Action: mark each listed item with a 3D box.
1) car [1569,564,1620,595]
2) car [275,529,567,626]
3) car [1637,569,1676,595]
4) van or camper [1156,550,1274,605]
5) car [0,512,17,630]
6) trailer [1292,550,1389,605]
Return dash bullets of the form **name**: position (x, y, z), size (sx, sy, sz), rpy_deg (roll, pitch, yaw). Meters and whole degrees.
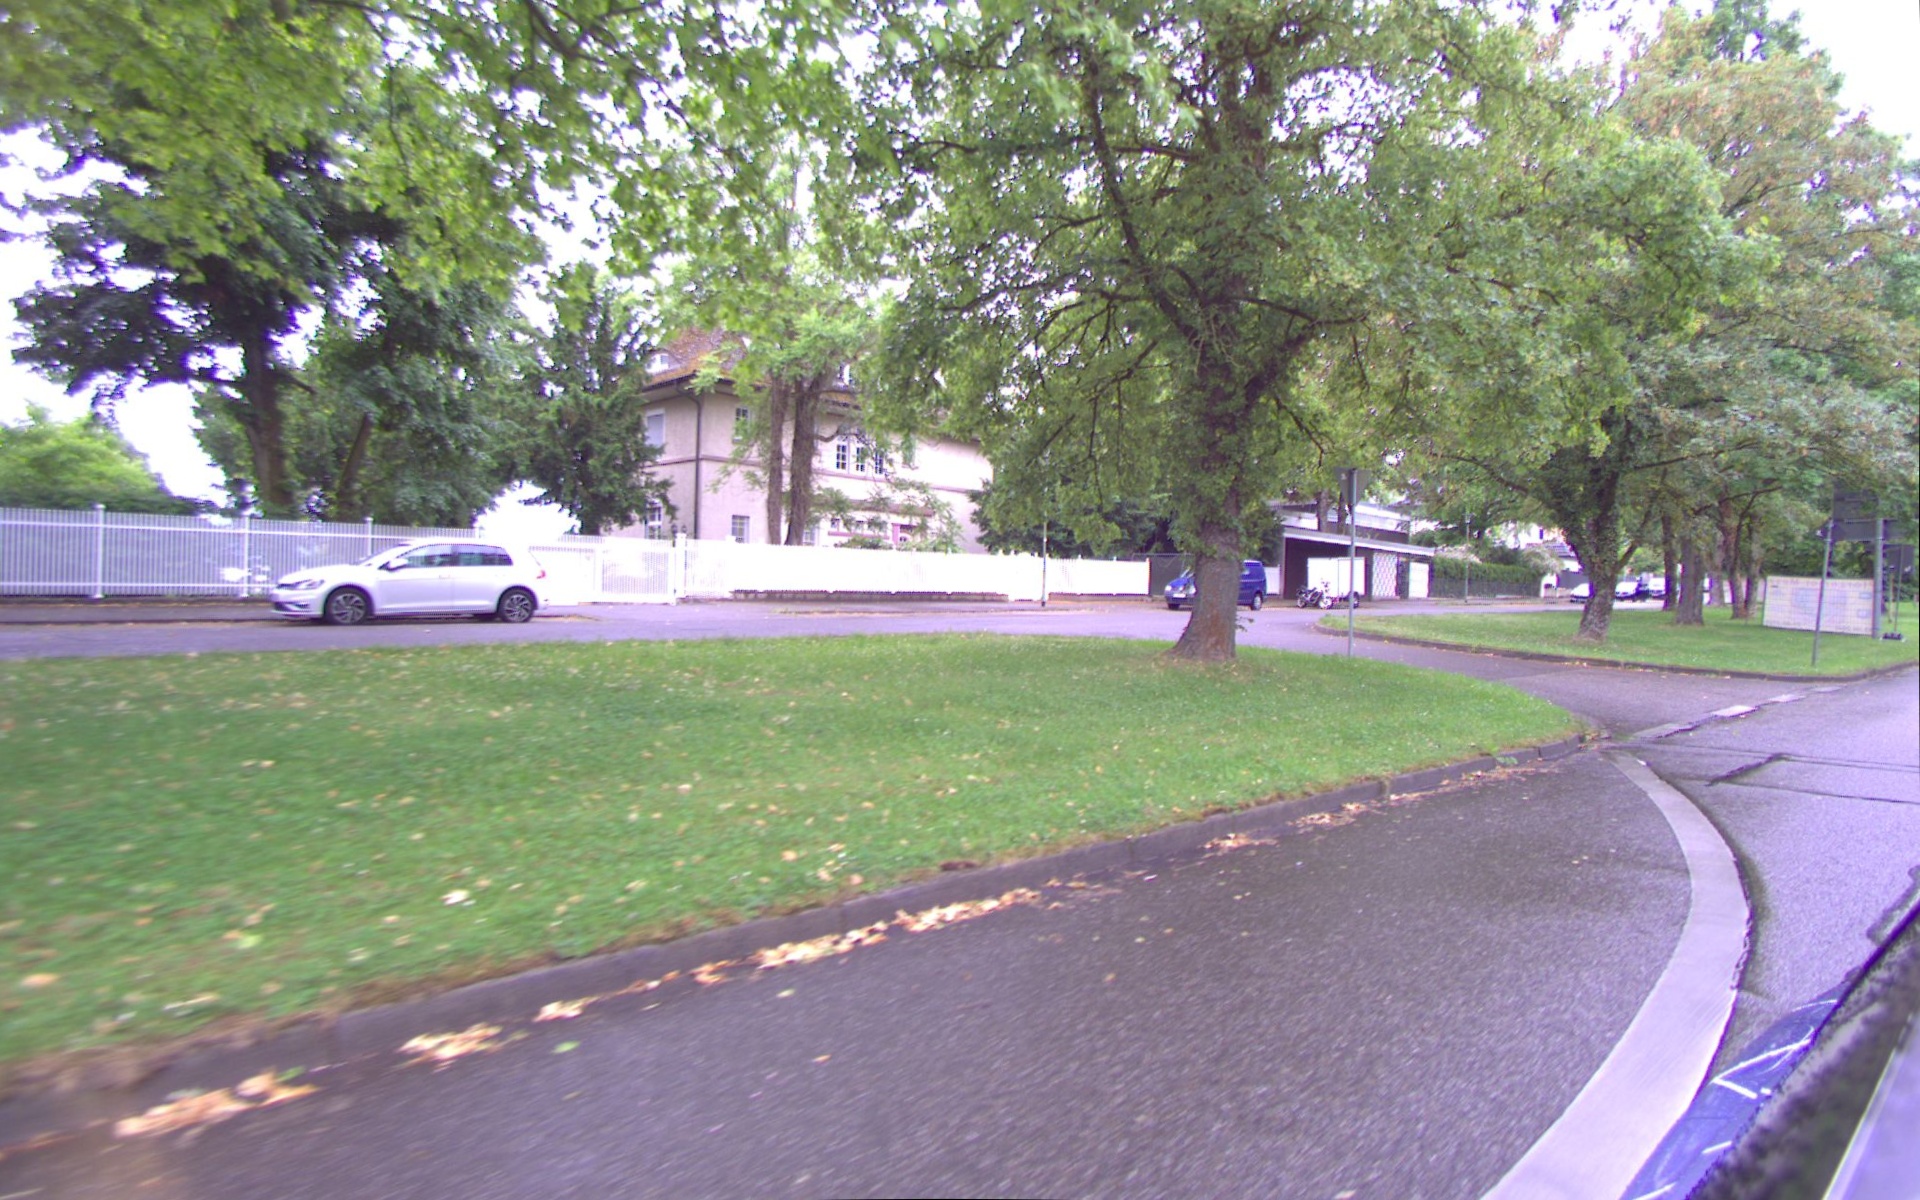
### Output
- **car**: position (44.872, -1.442, 71.523), size (3.931, 2.038, 1.997), rpy_deg (0, 3, -42)
- **car**: position (-9.180, -0.360, 17.439), size (1.994, 1.467, 4.058), rpy_deg (0, 0, 45)
- **car**: position (61.114, -1.579, 88.838), size (3.933, 2.039, 1.996), rpy_deg (2, 1, -44)
- **van or camper**: position (9.041, -0.764, 35.627), size (1.993, 1.831, 4.701), rpy_deg (0, 0, 44)
- **car**: position (-14.119, -0.343, 12.147), size (1.994, 1.489, 4.058), rpy_deg (0, 0, 45)
- **trailer**: position (15.887, -0.915, 42.091), size (5.108, 2.143, 1.768), rpy_deg (-1, 0, -44)
